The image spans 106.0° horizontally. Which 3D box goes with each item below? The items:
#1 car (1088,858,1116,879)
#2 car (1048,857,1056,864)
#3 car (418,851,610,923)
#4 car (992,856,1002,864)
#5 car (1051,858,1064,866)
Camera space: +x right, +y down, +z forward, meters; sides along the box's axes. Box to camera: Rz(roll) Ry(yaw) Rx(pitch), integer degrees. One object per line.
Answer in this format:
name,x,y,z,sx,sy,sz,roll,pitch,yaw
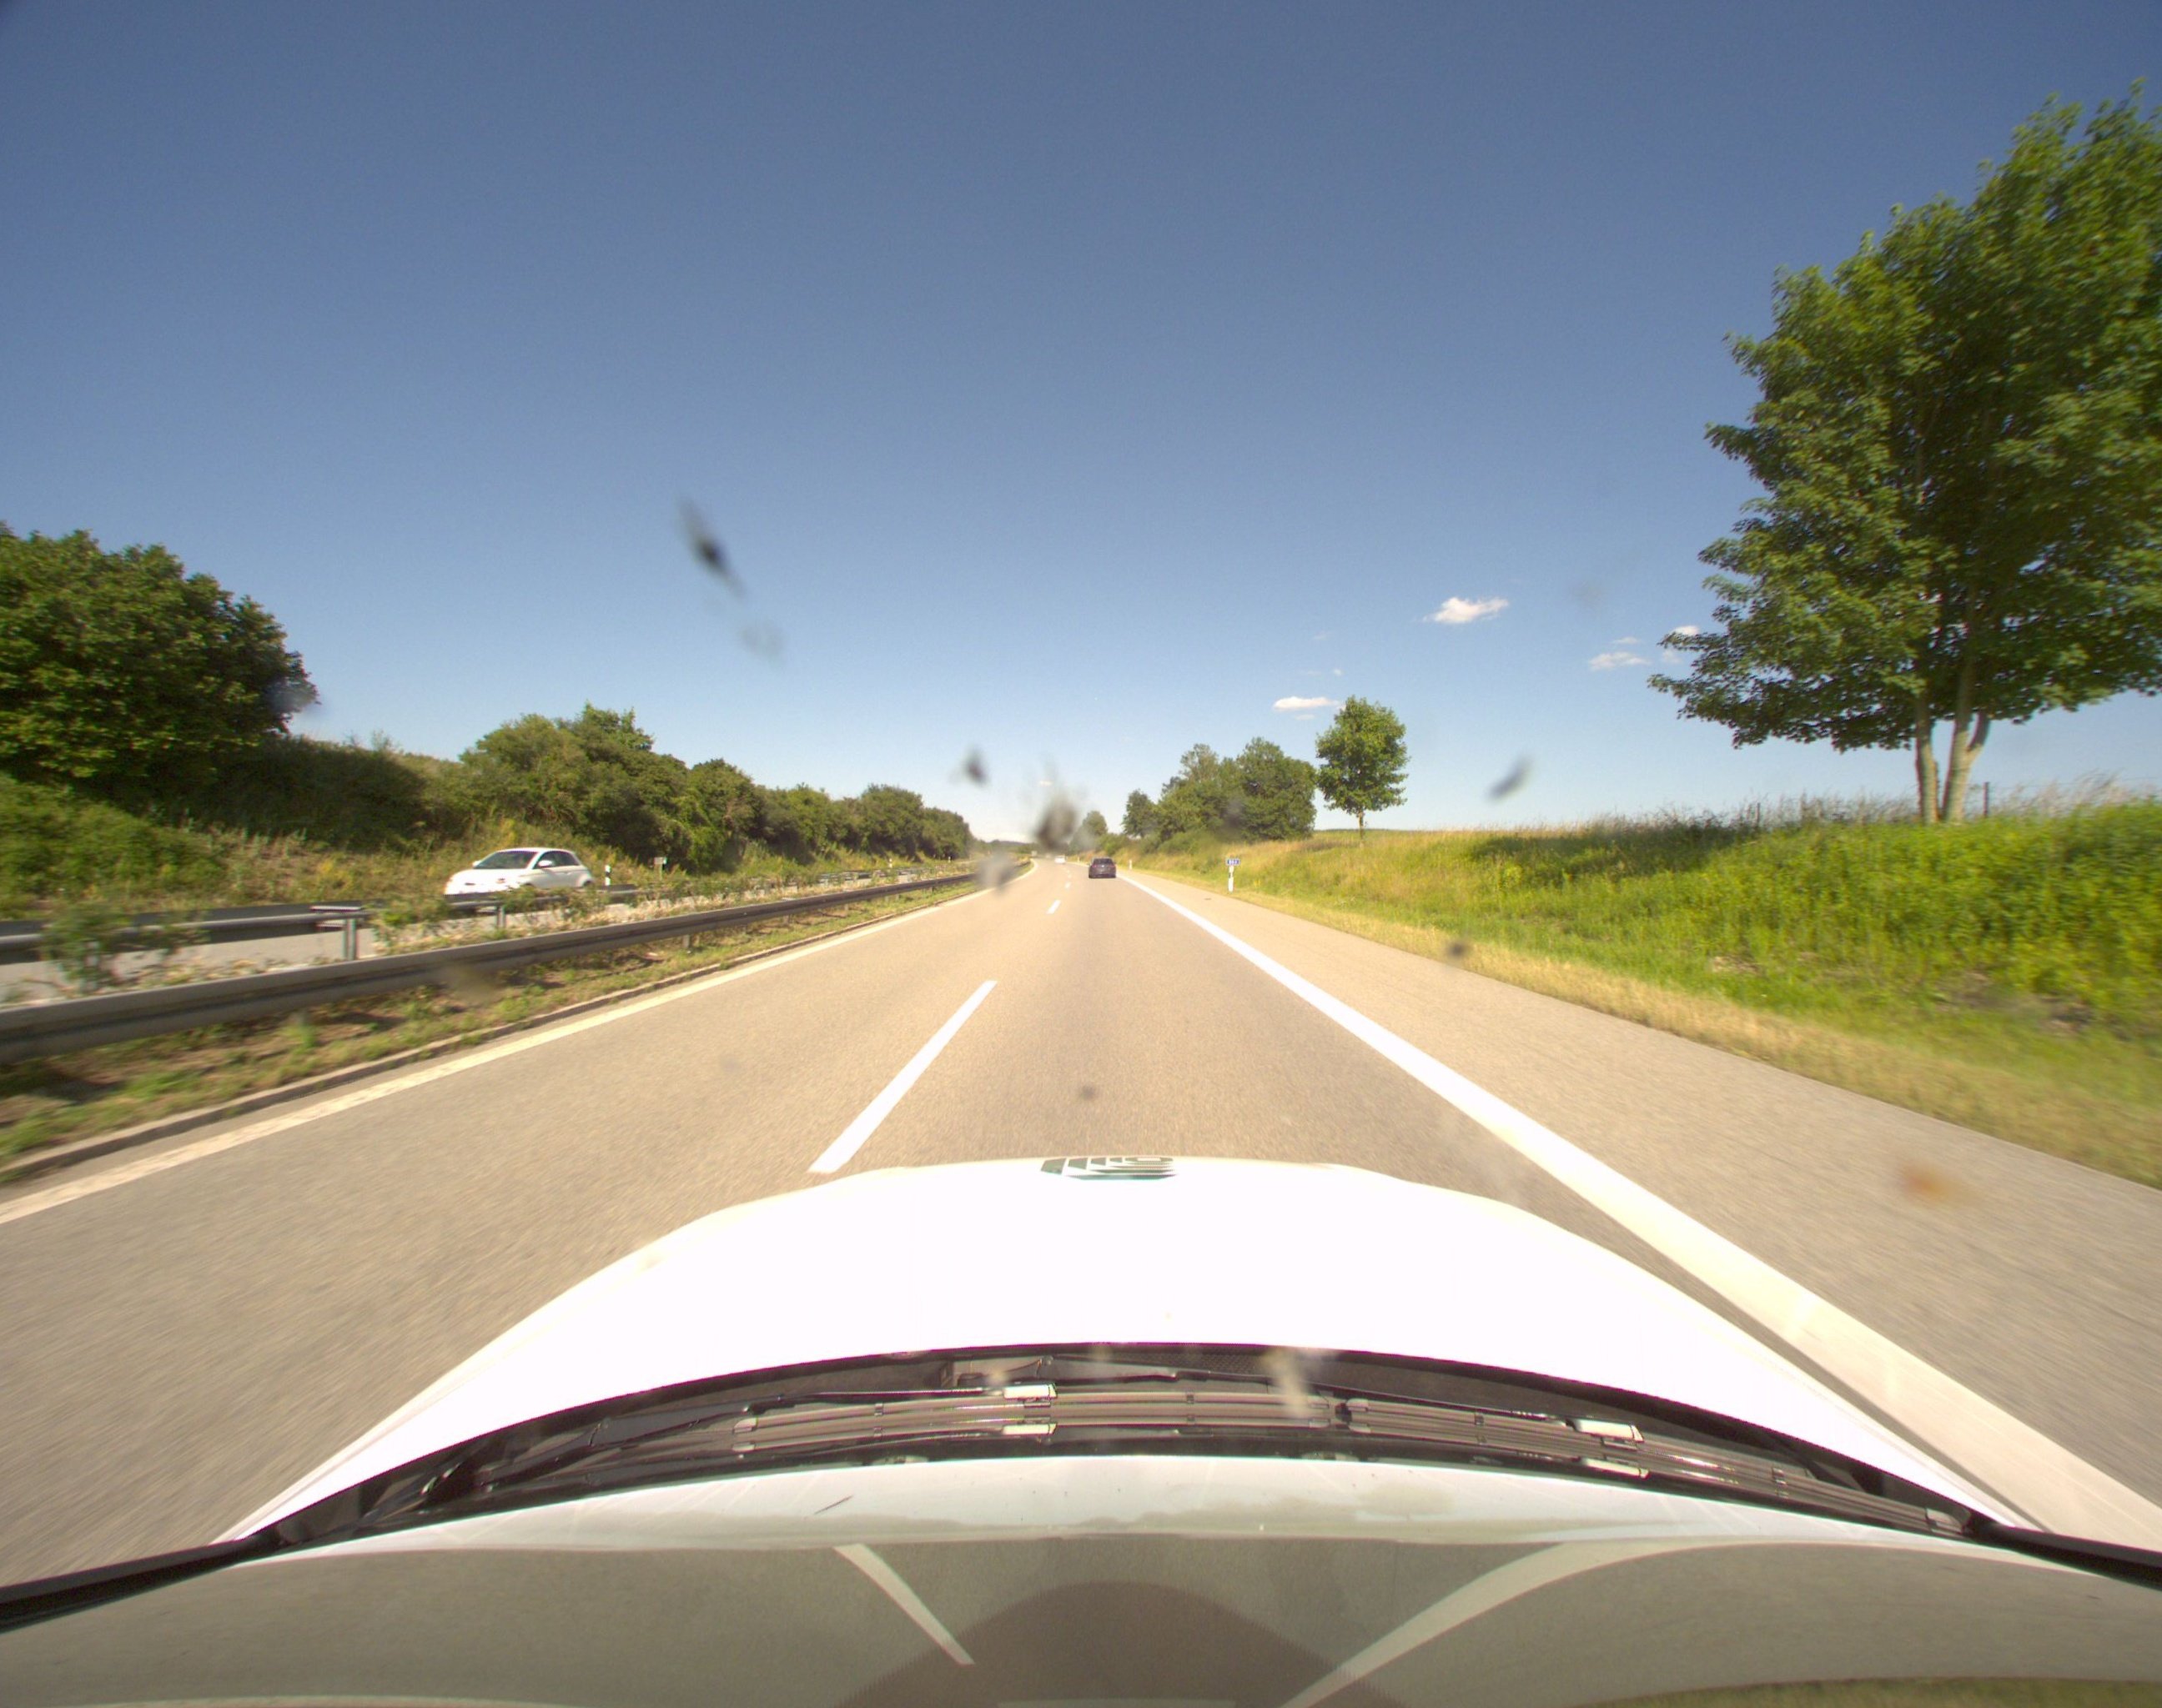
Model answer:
car,1.368,0.958,55.518,1.785,1.344,3.999,-1,0,0
car,-6.749,1.471,190.732,1.705,1.387,3.354,5,-1,0
car,-13.860,0.746,20.238,1.849,1.598,4.003,0,0,3
car,-20.022,1.447,194.810,1.988,2.014,4.851,0,0,-2
car,-3.926,1.319,137.388,2.001,1.344,3.998,1,-1,-1
